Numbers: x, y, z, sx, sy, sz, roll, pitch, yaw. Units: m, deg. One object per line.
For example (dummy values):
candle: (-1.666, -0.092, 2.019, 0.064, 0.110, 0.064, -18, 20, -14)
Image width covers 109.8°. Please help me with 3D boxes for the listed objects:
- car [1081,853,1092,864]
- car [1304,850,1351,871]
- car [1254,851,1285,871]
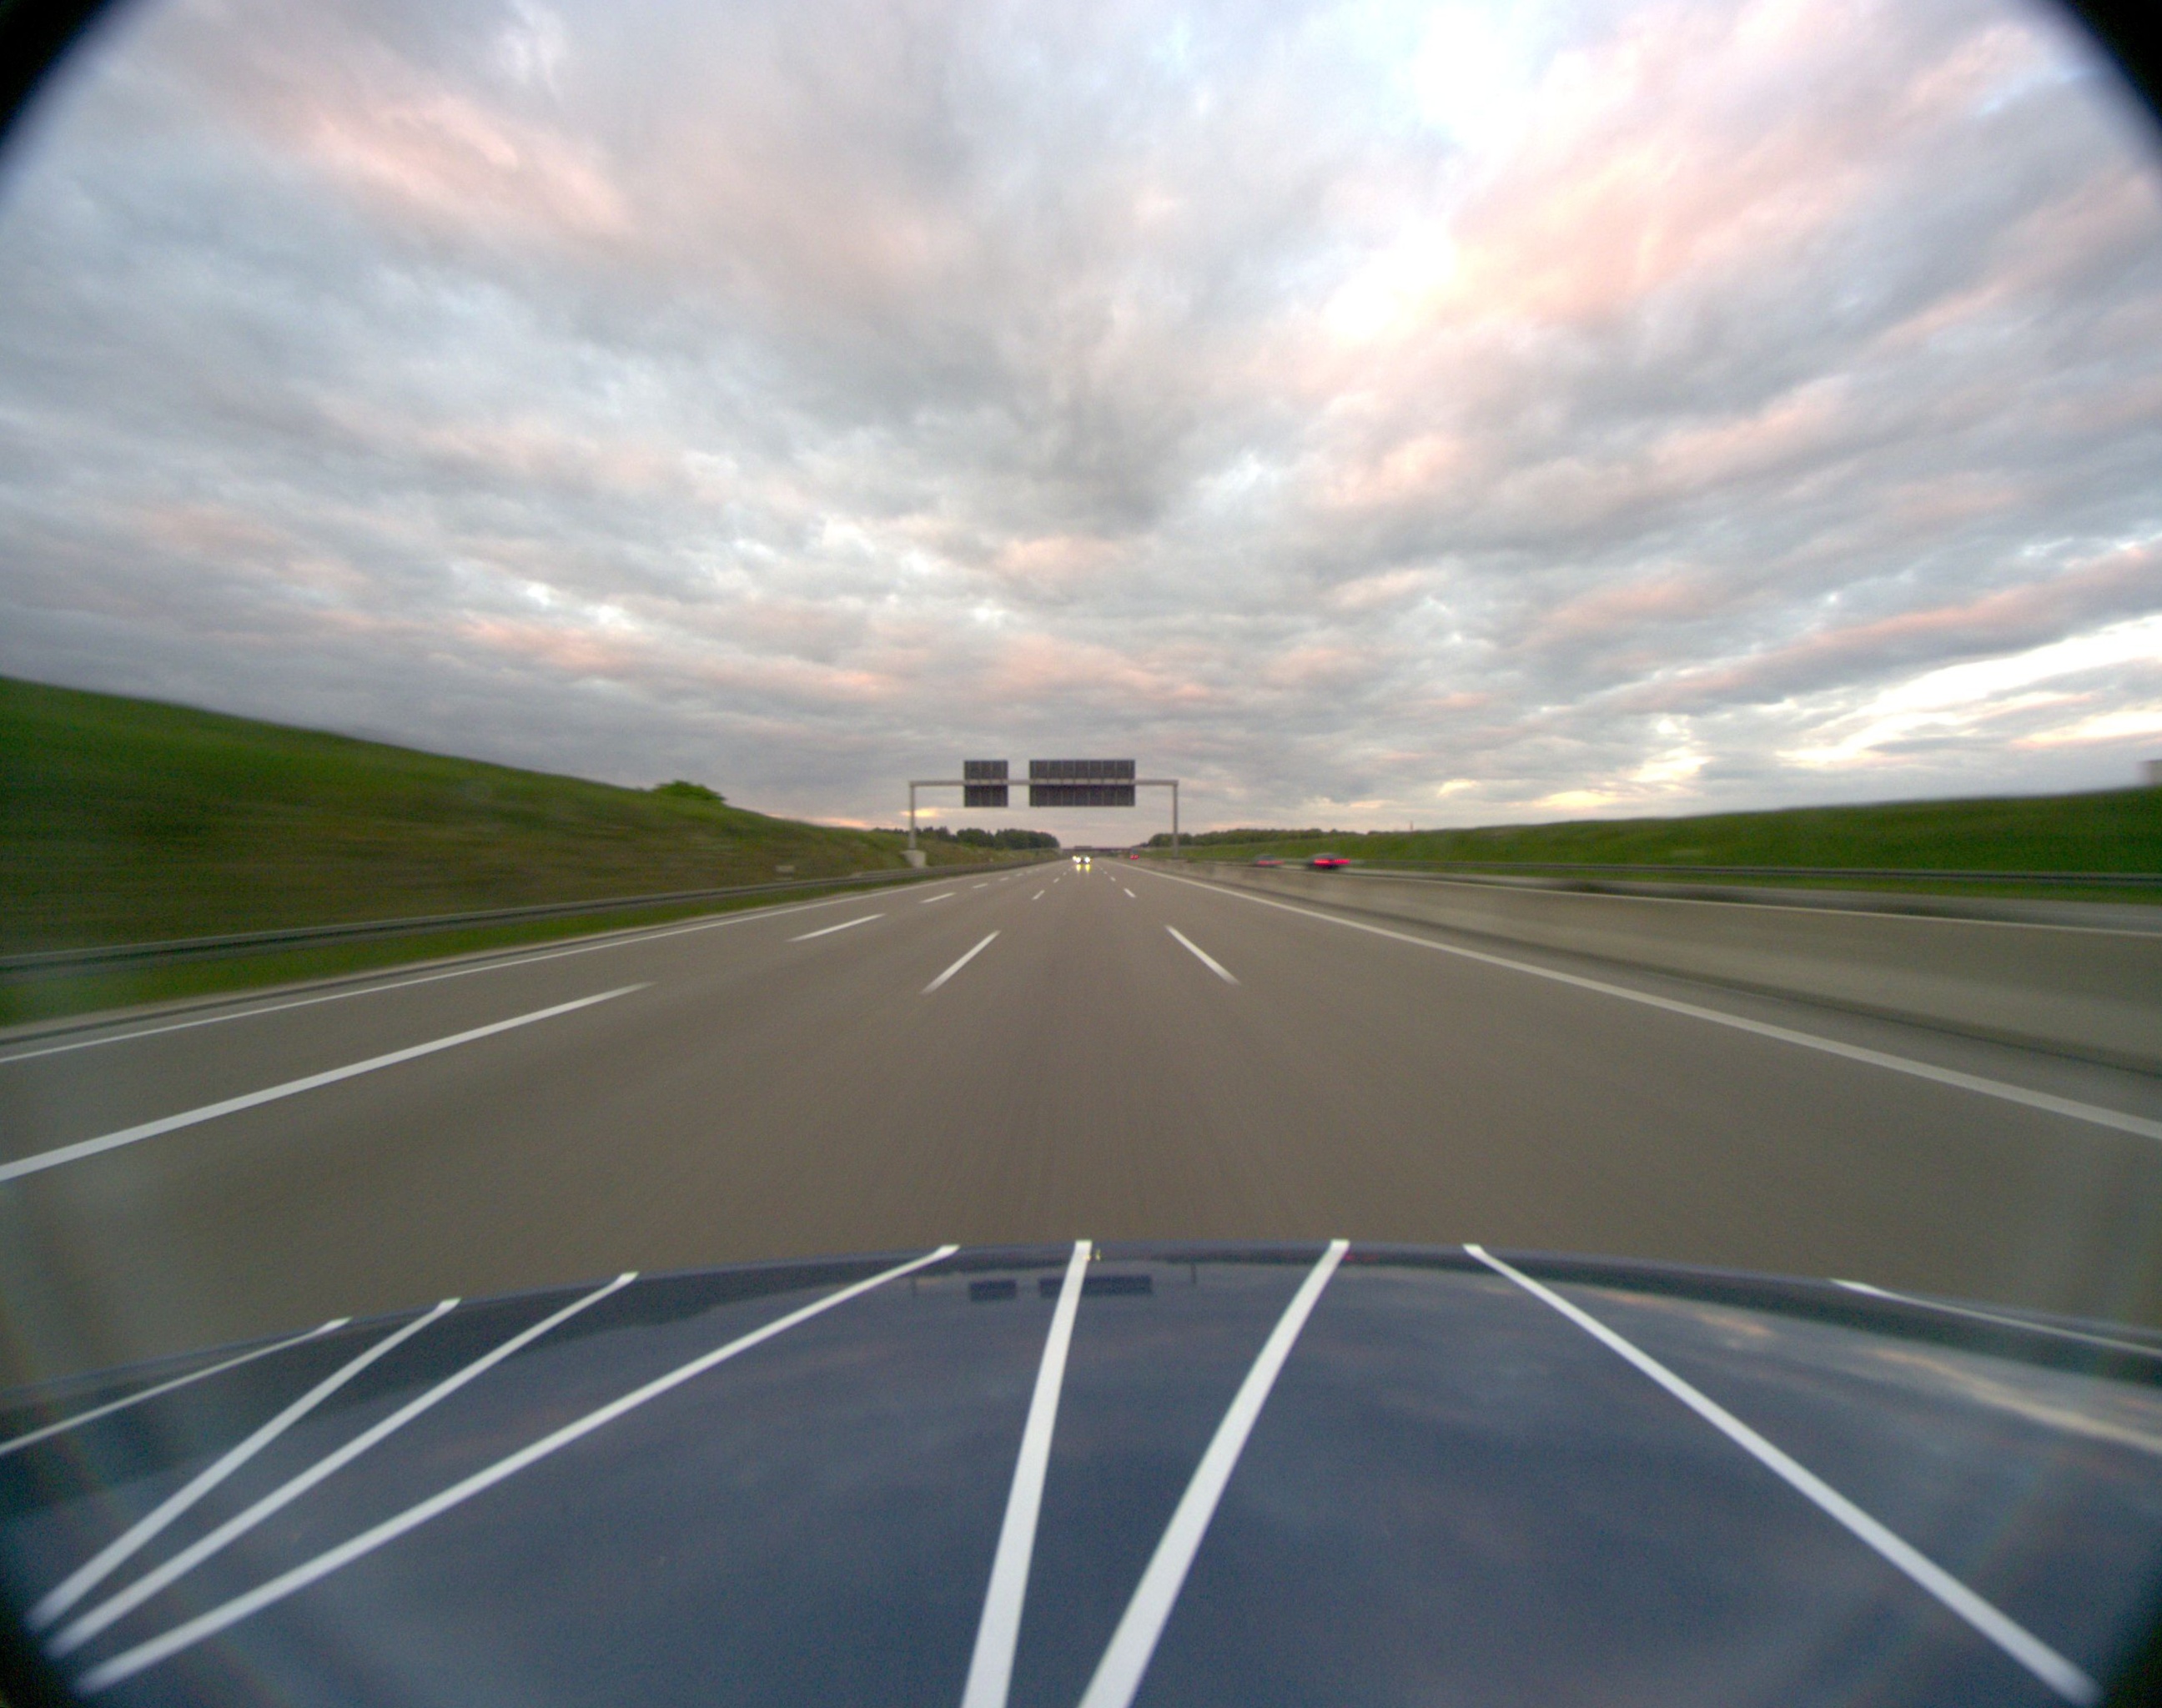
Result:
car: (0.947, 0.761, 128.510, 1.801, 1.674, 4.385, -1, 1, 1)
car: (19.317, 0.485, 59.789, 1.999, 1.593, 5.199, -1, 0, -1)
car: (15.976, 0.537, 64.482, 1.824, 1.619, 4.000, -1, 0, 3)
